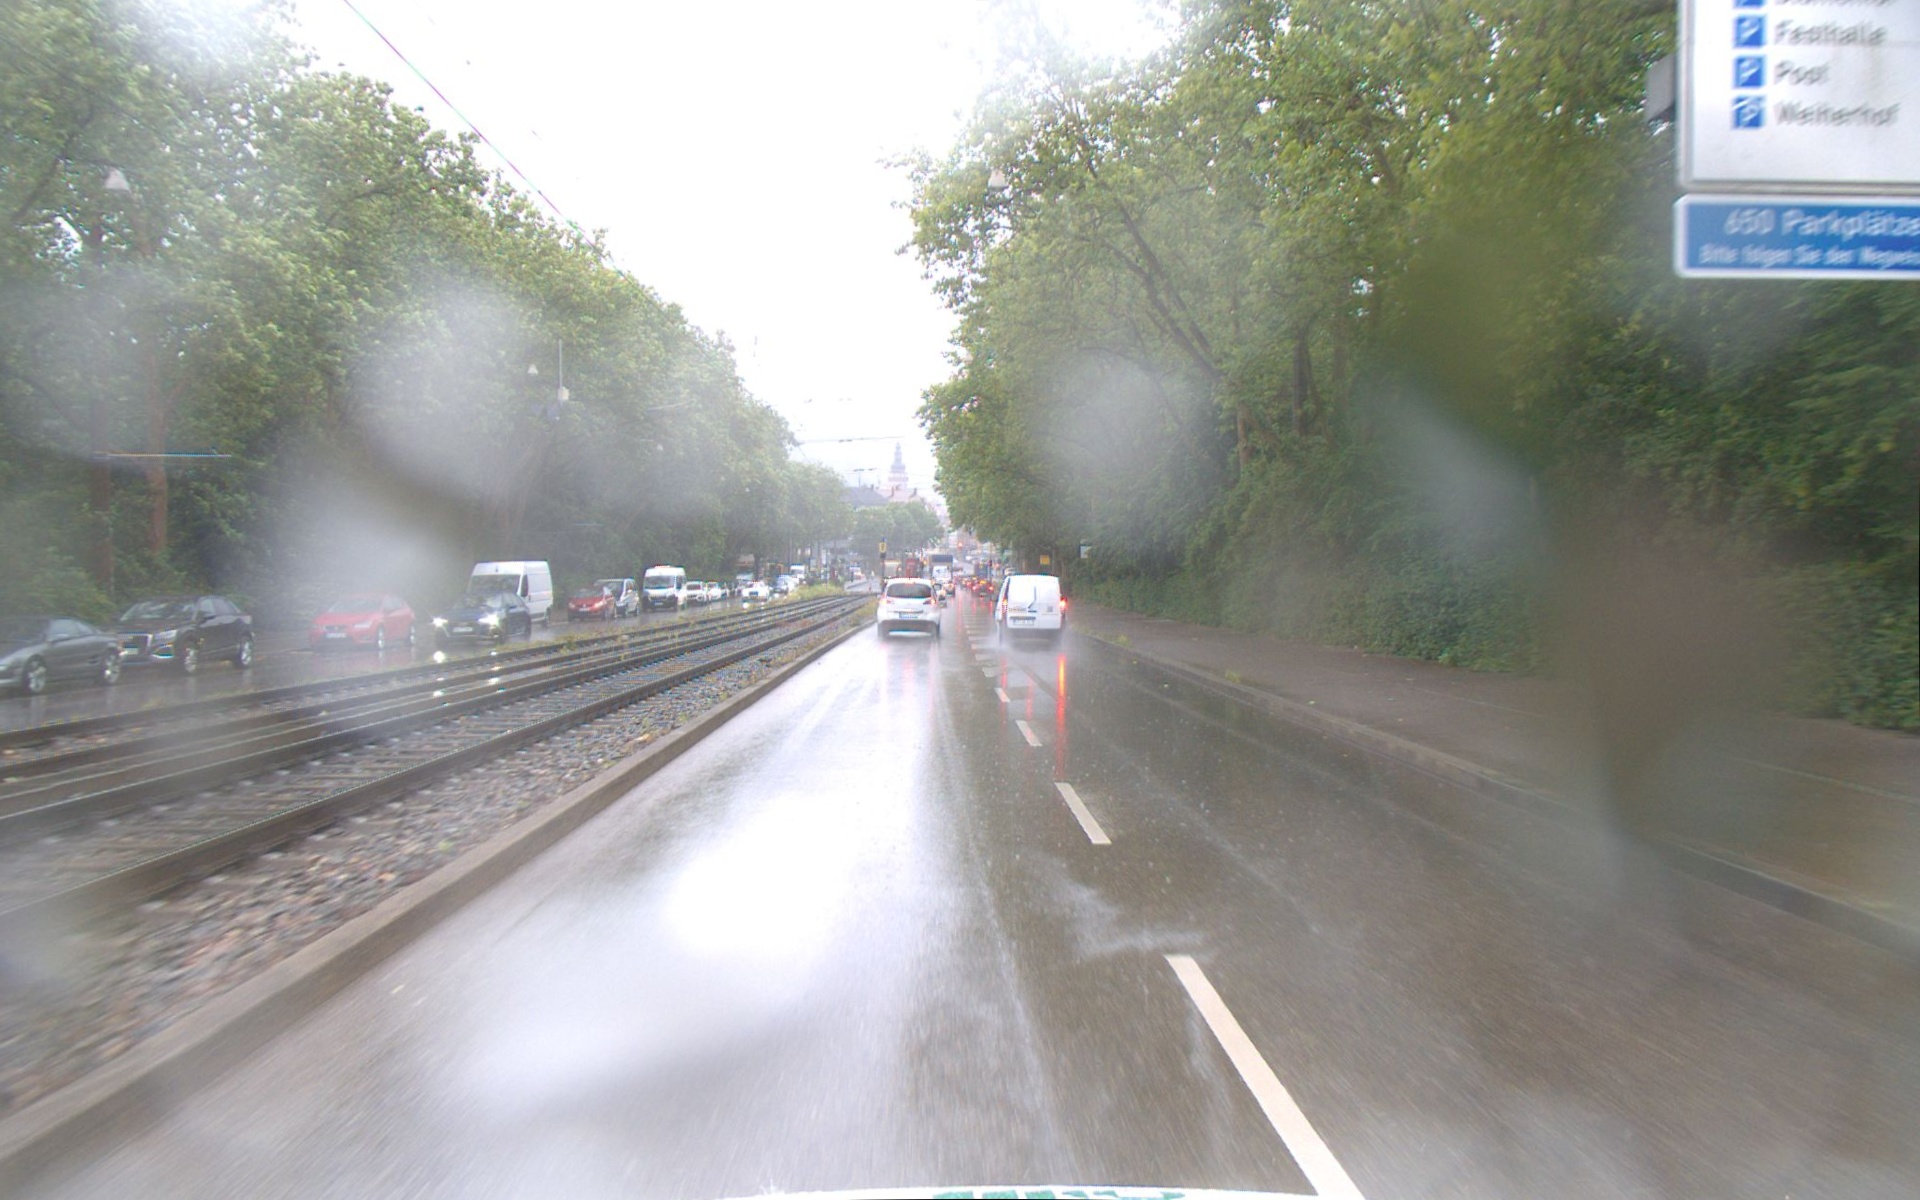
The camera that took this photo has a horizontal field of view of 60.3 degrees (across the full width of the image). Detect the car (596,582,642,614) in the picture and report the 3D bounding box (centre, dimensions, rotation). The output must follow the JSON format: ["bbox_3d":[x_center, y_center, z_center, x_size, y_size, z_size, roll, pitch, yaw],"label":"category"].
[{"bbox_3d":[-16.608,-0.108,80.697,1.475,1.373,4.027,-2,2,-1],"label":"car"}]

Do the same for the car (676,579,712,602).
[{"bbox_3d":[-17.936,-0.625,111.763,1.768,1.373,4.263,-2,2,-1],"label":"car"}]

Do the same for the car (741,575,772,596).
[{"bbox_3d":[-14.866,-1.085,121.102,1.768,1.373,4.263,-2,2,-1],"label":"car"}]

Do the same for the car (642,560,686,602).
[{"bbox_3d":[-17.046,-1.139,95.527,1.764,2.260,4.277,-2,2,-1],"label":"car"}]

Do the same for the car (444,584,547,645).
[{"bbox_3d":[-12.649,0.365,45.312,1.475,1.425,4.707,-2,2,-1],"label":"car"}]

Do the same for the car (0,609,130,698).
[{"bbox_3d":[-15.103,0.838,26.773,1.475,1.193,3.712,-2,2,-1],"label":"car"}]

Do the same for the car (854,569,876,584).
[{"bbox_3d":[-10.098,-2.524,176.496,1.767,1.373,4.267,-2,2,4],"label":"car"}]

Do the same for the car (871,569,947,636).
[{"bbox_3d":[-1.415,0.041,47.434,1.952,1.746,4.001,1,2,1],"label":"car"}]

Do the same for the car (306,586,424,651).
[{"bbox_3d":[-15.619,0.458,43.634,1.577,1.467,4.262,-2,2,-1],"label":"car"}]

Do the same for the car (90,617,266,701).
[{"bbox_3d":[-15.198,1.107,32.381,1.475,1.314,4.095,-2,2,-1],"label":"car"}]

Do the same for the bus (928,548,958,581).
[{"bbox_3d":[-2.076,-4.493,205.092,3.320,3.903,9.741,1,2,1],"label":"bus"}]

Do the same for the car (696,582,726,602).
[{"bbox_3d":[-19.476,-0.670,129.382,1.768,1.373,4.263,-2,2,-1],"label":"car"}]

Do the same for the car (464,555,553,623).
[{"bbox_3d":[-15.994,-0.445,58.884,1.706,2.207,5.812,-2,2,-2],"label":"car"}]

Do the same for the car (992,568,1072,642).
[{"bbox_3d":[1.849,0.086,43.412,1.952,1.756,4.001,1,2,1],"label":"car"}]

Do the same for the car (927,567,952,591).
[{"bbox_3d":[-1.753,-1.780,139.415,1.952,1.858,4.001,1,2,1],"label":"car"}]

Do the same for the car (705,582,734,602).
[{"bbox_3d":[-19.558,-0.665,134.660,1.768,1.373,4.263,-2,2,-1],"label":"car"}]

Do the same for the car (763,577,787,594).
[{"bbox_3d":[-16.544,-1.325,148.091,1.768,1.373,4.263,-2,2,-1],"label":"car"}]

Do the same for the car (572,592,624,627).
[{"bbox_3d":[-16.352,0.421,74.894,1.475,1.373,4.027,-2,2,-1],"label":"car"}]

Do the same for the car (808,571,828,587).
[{"bbox_3d":[-13.519,-1.986,157.091,1.770,1.373,4.258,-2,2,-7],"label":"car"}]

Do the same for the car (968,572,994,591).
[{"bbox_3d":[1.605,-1.407,127.053,1.952,1.344,4.001,1,2,1],"label":"car"}]

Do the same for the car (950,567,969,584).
[{"bbox_3d":[-0.051,-2.771,187.295,1.952,1.858,4.001,1,2,1],"label":"car"}]

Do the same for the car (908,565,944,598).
[{"bbox_3d":[-1.970,-1.128,97.917,1.952,1.858,4.001,1,2,1],"label":"car"}]
